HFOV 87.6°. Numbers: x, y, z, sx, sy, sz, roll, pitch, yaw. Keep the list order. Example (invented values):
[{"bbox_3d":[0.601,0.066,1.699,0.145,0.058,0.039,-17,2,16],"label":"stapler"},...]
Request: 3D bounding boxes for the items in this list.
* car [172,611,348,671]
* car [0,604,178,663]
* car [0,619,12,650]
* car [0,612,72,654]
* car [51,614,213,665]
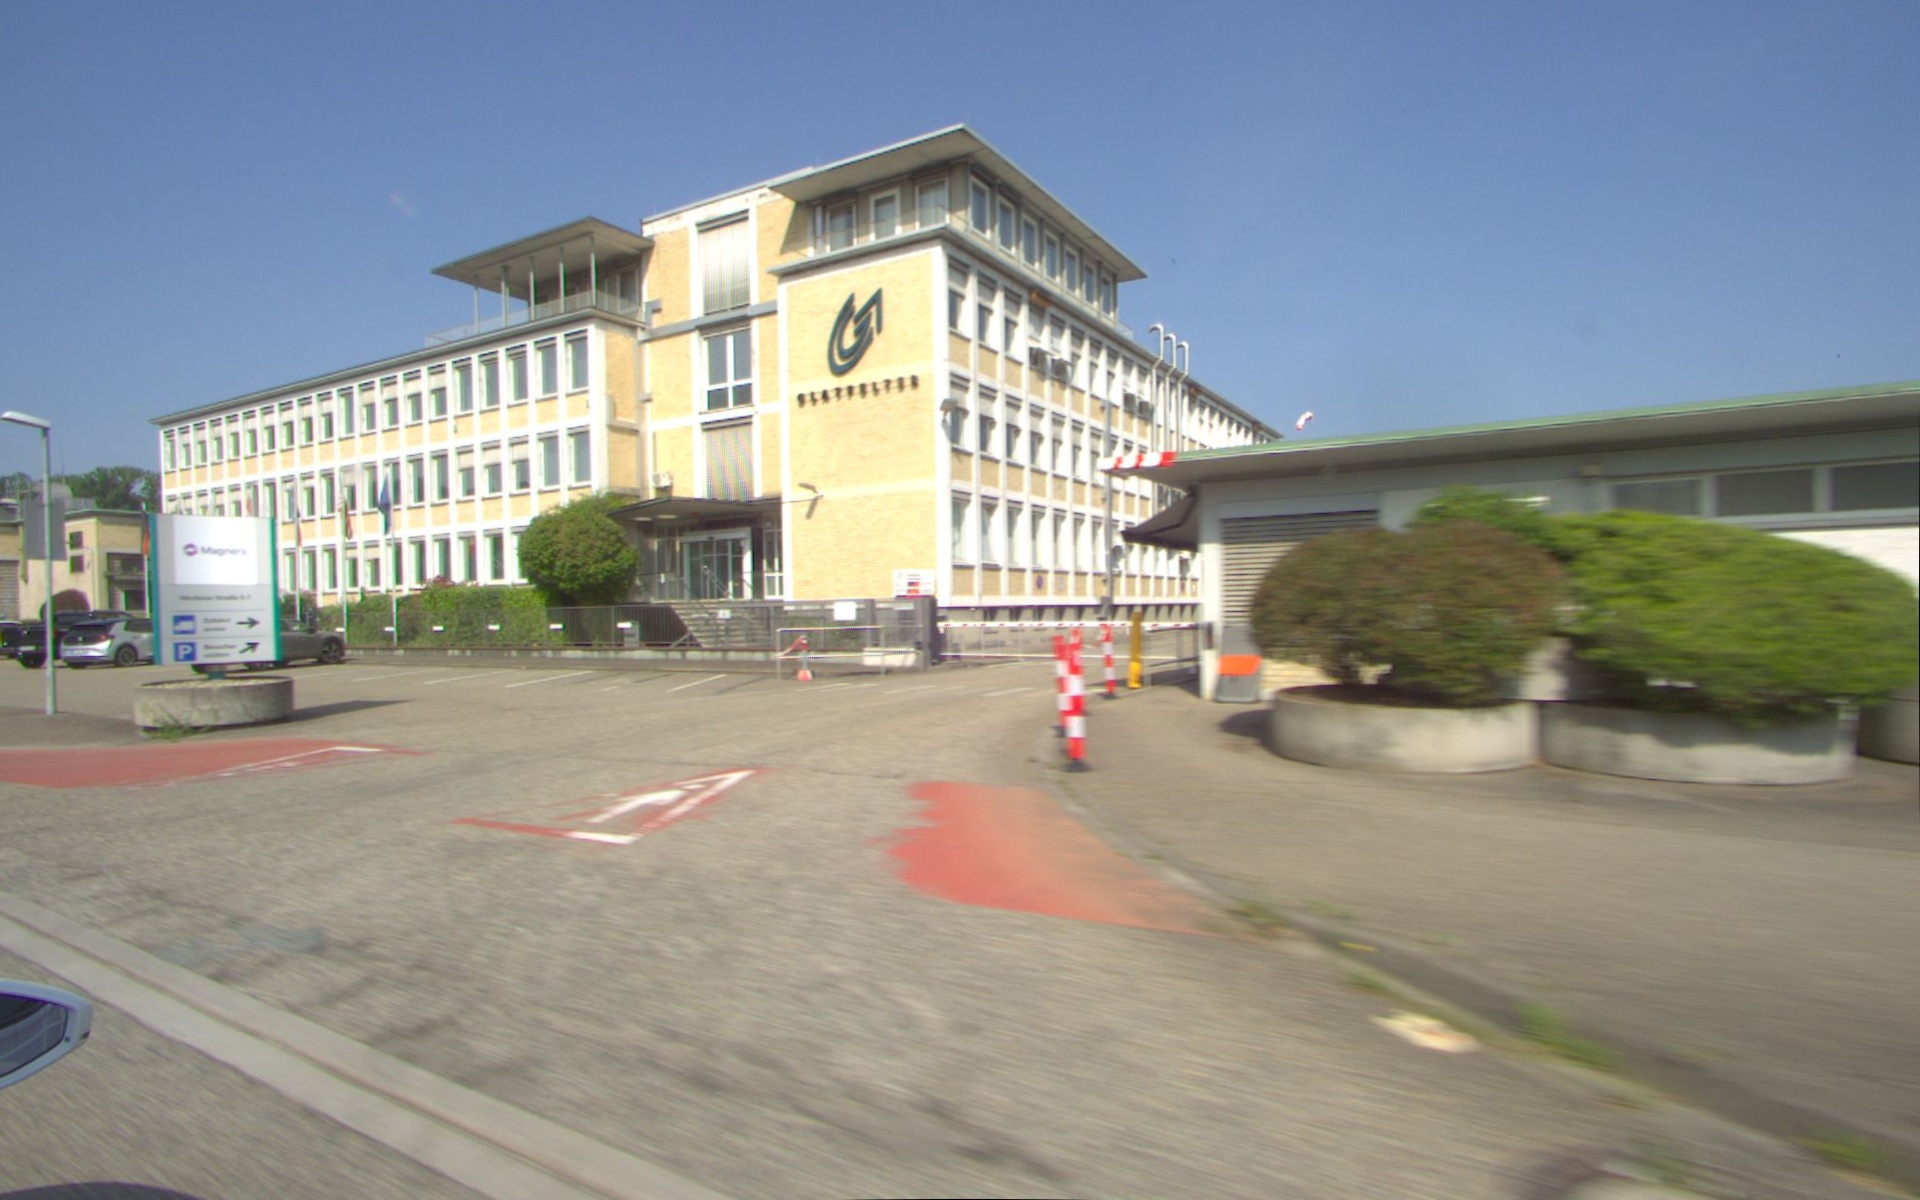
[{"bbox_3d":[-19.737,1.115,28.506,1.849,1.524,4.311,-1,0,2],"label":"car"},{"bbox_3d":[-29.488,1.066,33.901,1.944,1.856,5.036,-1,0,2],"label":"car"},{"bbox_3d":[-43.810,1.536,43.391,1.631,1.419,4.000,-1,-1,0],"label":"car"},{"bbox_3d":[-38.908,1.325,40.676,1.833,1.694,4.174,-1,-1,2],"label":"car"},{"bbox_3d":[-26.962,1.245,32.787,1.849,1.524,4.000,-1,0,2],"label":"car"}]
